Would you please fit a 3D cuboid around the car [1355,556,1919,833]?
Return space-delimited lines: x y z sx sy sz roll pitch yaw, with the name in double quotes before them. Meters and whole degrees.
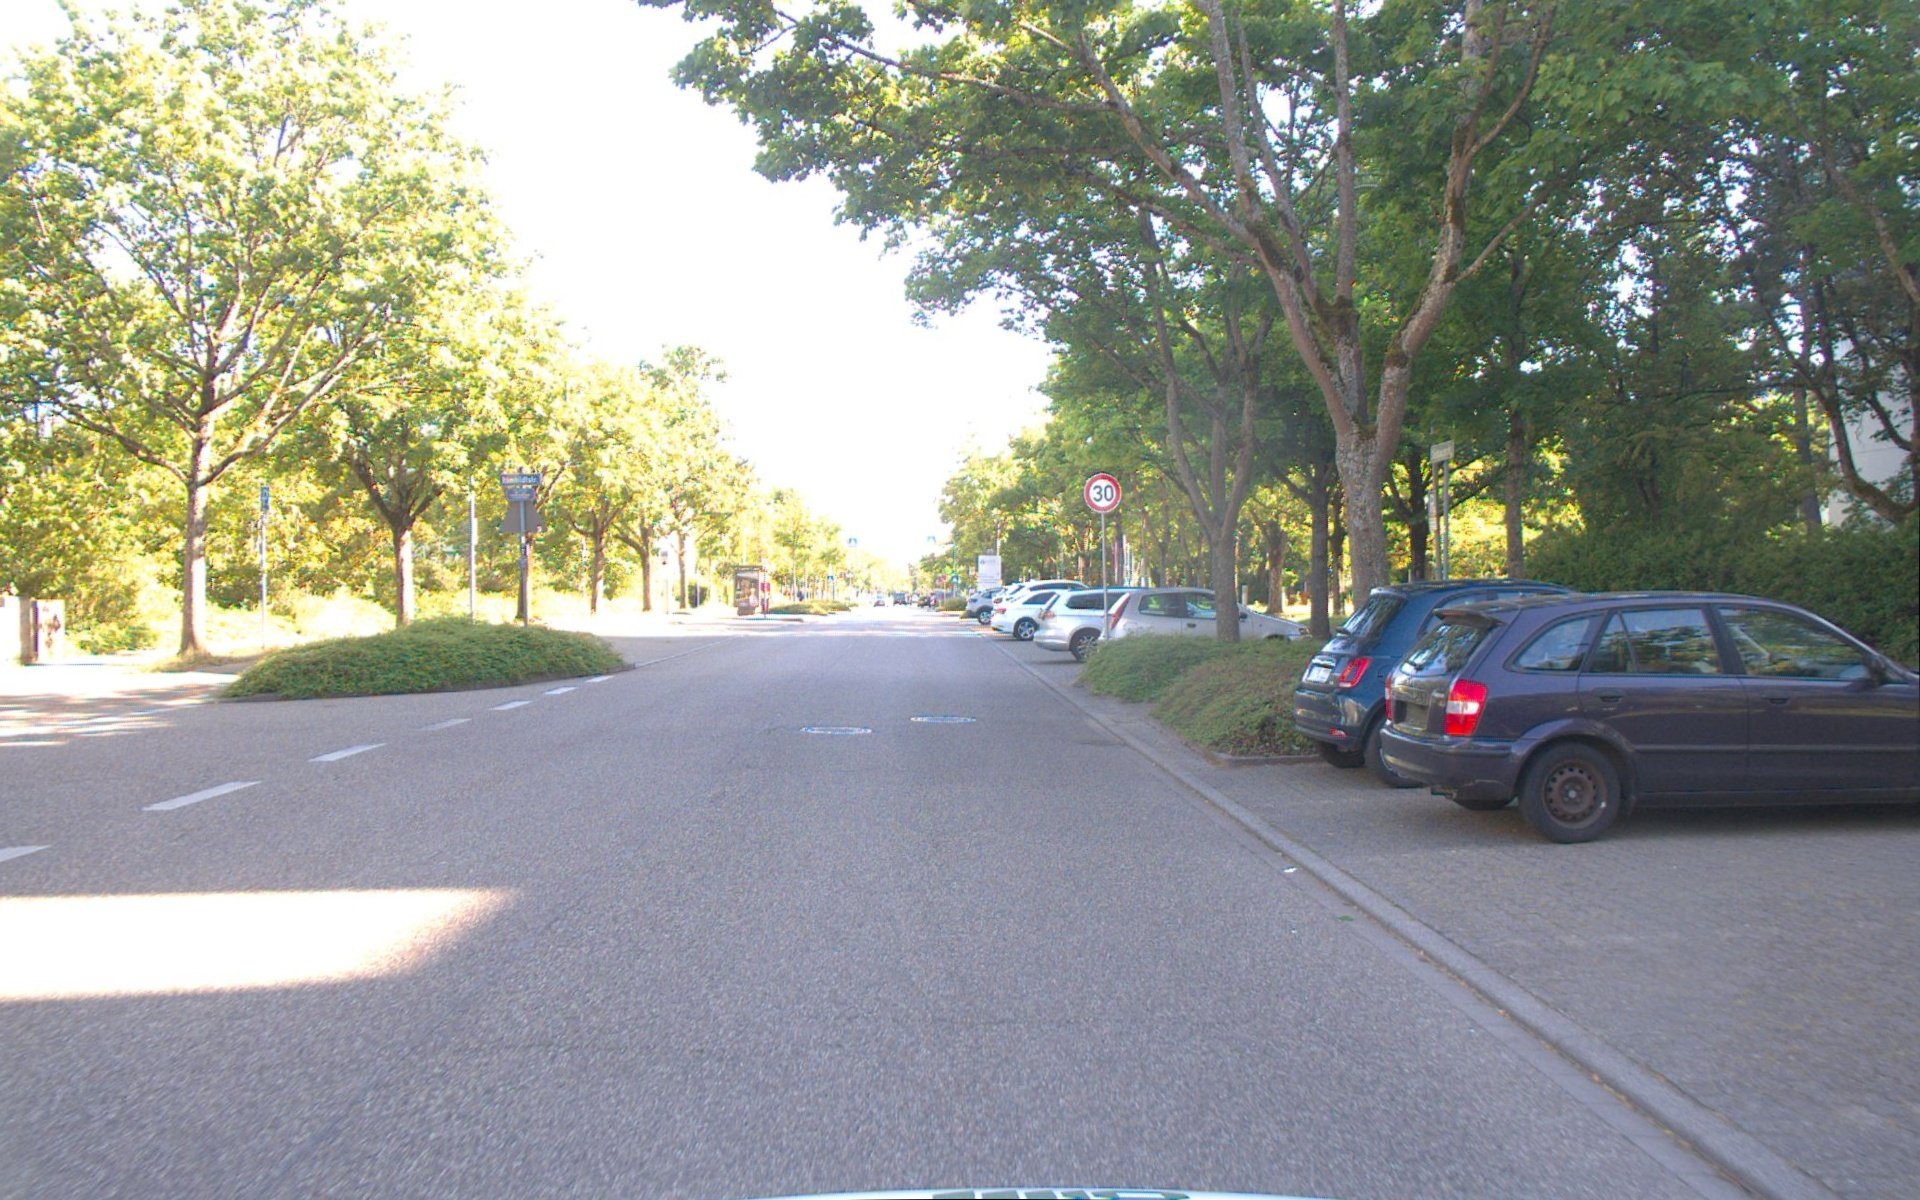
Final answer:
"car" 4.681 0.513 10.379 3.907 1.411 1.822 -3 1 -2

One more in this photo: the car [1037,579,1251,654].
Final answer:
"car" 3.674 0.321 33.556 4.185 1.453 1.828 0 0 3

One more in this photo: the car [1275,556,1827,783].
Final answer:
"car" 4.589 0.499 13.159 3.734 1.525 1.700 -2 0 -5

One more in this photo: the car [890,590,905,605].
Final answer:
"car" -8.655 -0.339 228.315 1.953 2.049 3.999 1 0 -1

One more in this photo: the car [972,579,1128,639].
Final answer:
"car" 2.554 0.241 47.455 4.257 1.515 1.737 -2 0 -4

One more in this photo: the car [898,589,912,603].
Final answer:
"car" -8.210 -0.663 246.793 1.953 2.049 3.999 1 0 -1

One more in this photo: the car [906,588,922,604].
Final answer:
"car" -5.852 -0.492 211.261 1.953 2.049 3.999 1 0 -1

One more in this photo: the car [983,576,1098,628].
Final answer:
"car" 2.645 0.046 55.052 3.616 1.549 1.649 -3 1 -4

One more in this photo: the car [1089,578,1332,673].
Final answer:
"car" 4.301 0.422 28.773 3.906 1.476 1.717 -2 1 -2

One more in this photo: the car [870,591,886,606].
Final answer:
"car" -9.707 -0.197 196.355 1.791 1.806 3.739 1 0 -1

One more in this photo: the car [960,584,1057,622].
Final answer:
"car" 2.077 0.122 71.811 4.081 1.453 1.999 -3 0 -2

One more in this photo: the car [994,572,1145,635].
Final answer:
"car" 3.289 0.092 50.181 4.347 1.676 1.815 -3 1 -4
